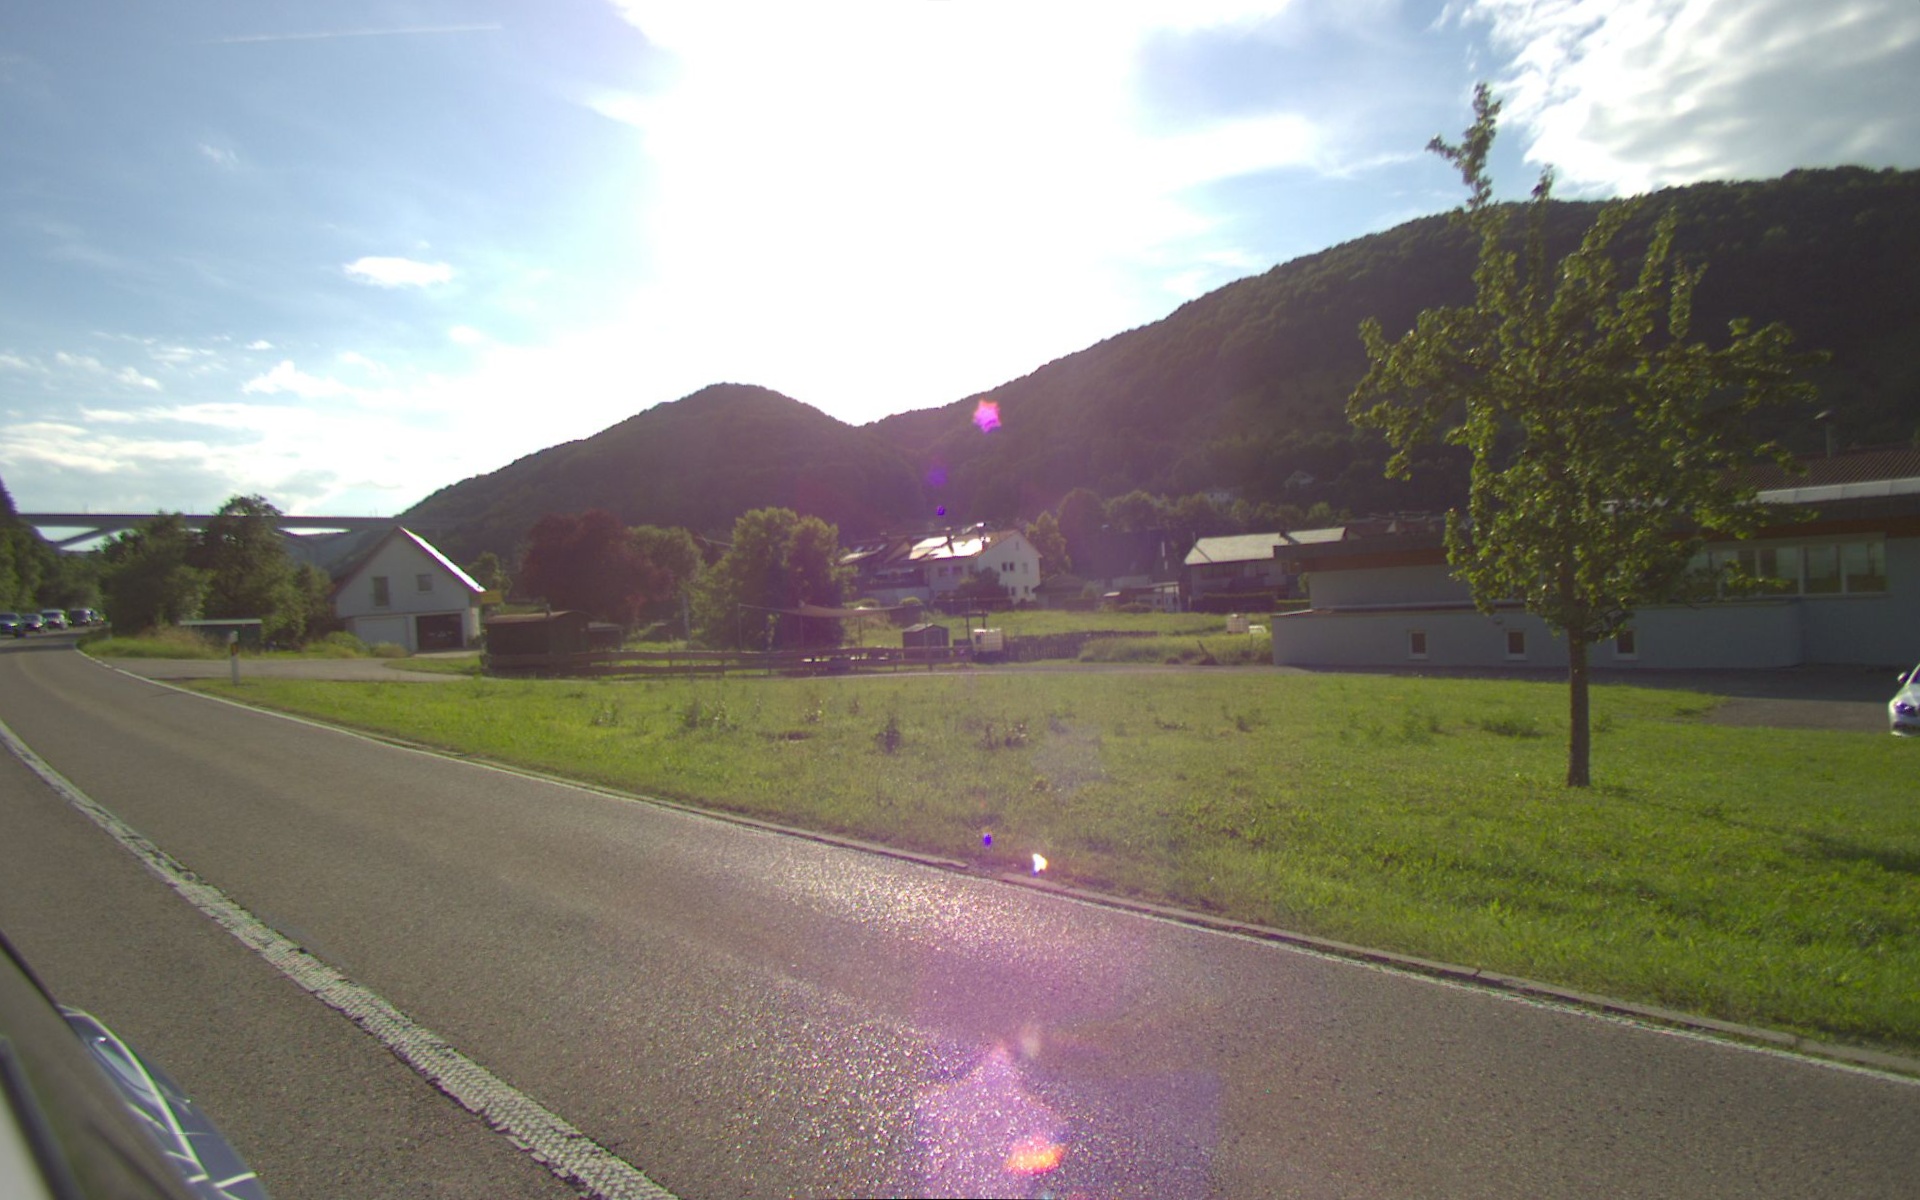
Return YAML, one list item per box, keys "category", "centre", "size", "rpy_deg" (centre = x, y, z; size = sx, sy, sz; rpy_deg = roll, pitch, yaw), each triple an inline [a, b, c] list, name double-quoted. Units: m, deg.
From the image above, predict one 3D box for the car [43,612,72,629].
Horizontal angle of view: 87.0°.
- category: "car"
  centre: [-79.346, 1.786, 88.961]
  size: [3.680, 1.490, 1.608]
  rpy_deg: [-1, 0, 44]

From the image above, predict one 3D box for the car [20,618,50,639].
- category: "car"
  centre: [-70.086, 2.129, 76.697]
  size: [1.606, 1.490, 3.684]
  rpy_deg: [-1, 0, -42]

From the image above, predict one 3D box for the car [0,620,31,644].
- category: "car"
  centre: [-60.364, 2.009, 64.281]
  size: [3.677, 1.490, 1.609]
  rpy_deg: [-1, 0, 41]

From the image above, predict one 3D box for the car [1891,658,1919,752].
- category: "car"
  centre: [17.255, 1.752, 17.051]
  size: [3.837, 1.379, 1.856]
  rpy_deg: [0, -1, -40]
